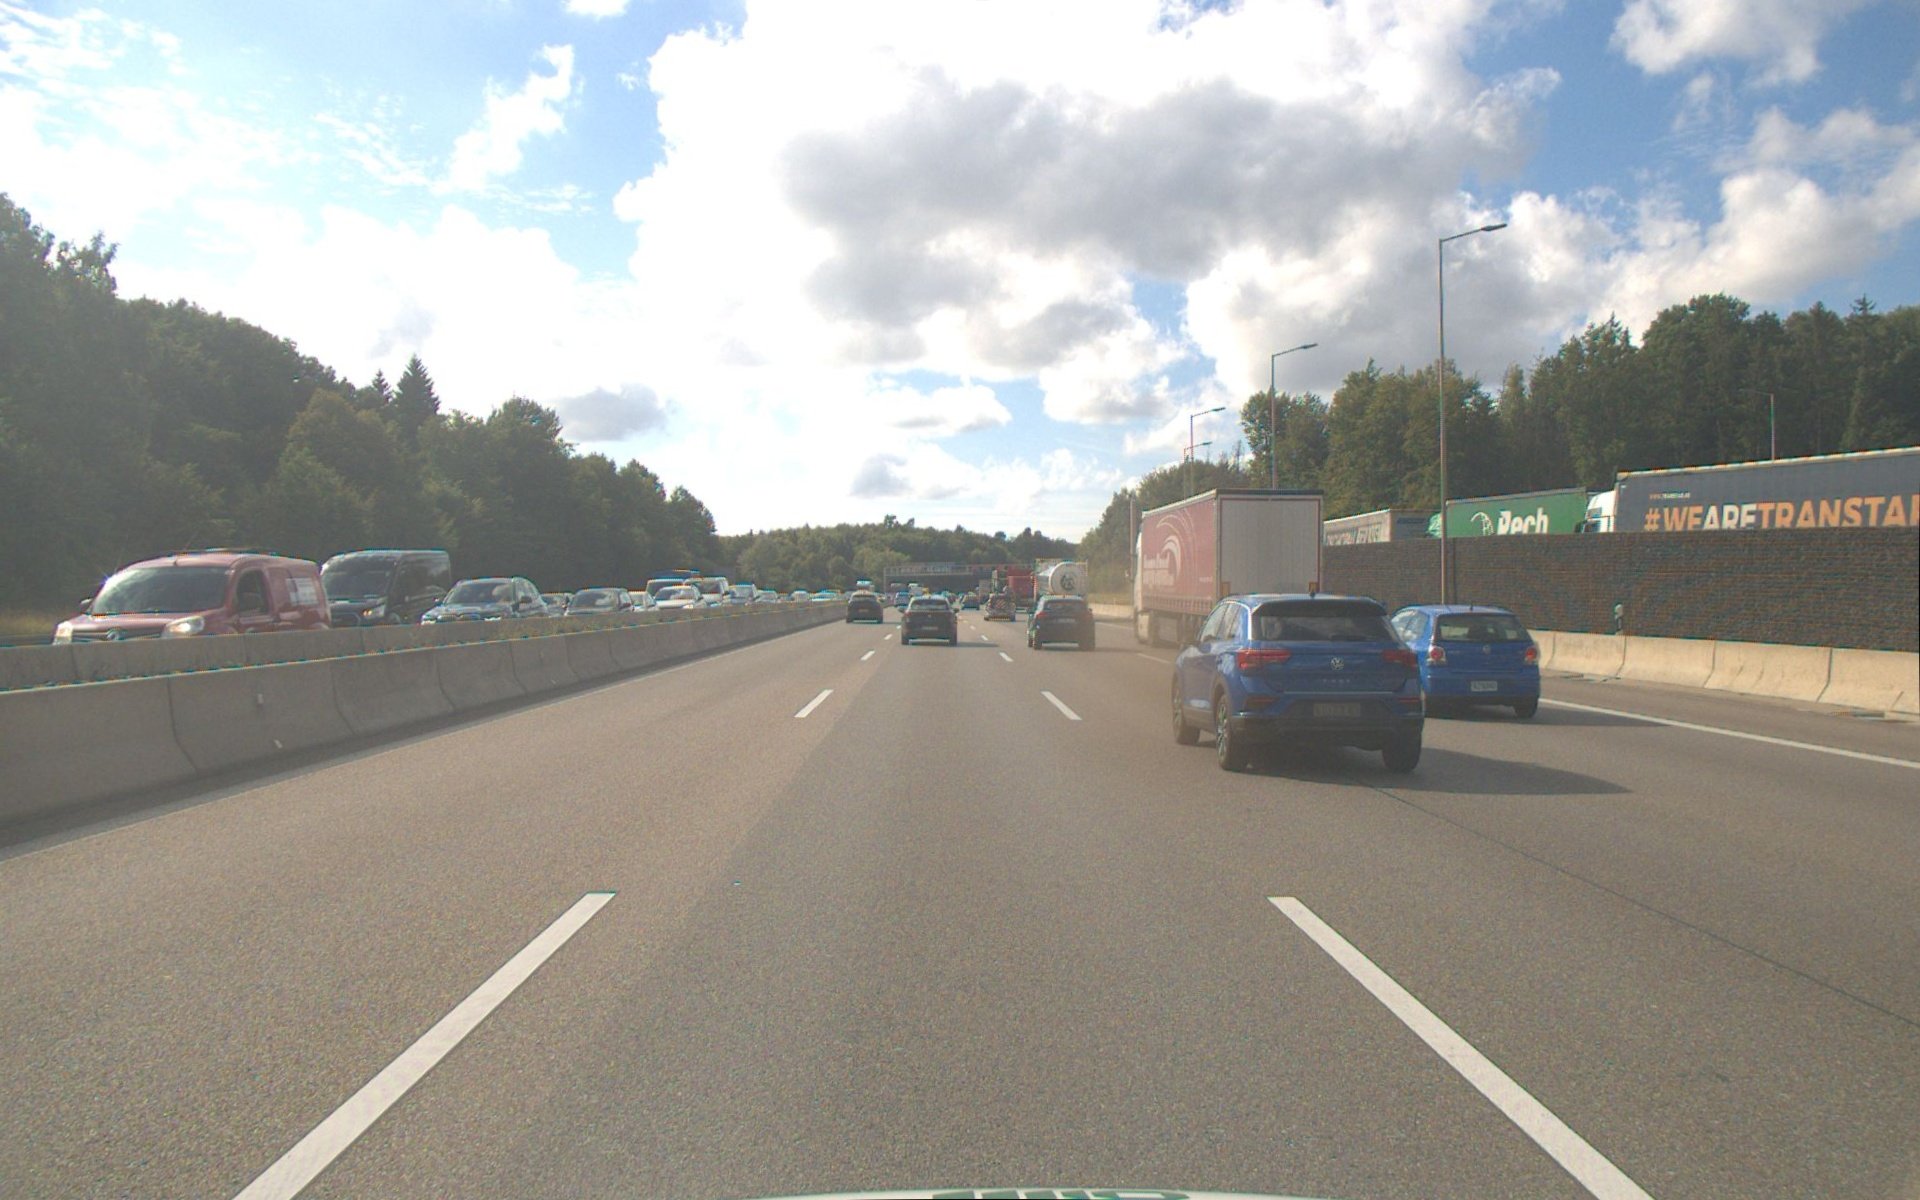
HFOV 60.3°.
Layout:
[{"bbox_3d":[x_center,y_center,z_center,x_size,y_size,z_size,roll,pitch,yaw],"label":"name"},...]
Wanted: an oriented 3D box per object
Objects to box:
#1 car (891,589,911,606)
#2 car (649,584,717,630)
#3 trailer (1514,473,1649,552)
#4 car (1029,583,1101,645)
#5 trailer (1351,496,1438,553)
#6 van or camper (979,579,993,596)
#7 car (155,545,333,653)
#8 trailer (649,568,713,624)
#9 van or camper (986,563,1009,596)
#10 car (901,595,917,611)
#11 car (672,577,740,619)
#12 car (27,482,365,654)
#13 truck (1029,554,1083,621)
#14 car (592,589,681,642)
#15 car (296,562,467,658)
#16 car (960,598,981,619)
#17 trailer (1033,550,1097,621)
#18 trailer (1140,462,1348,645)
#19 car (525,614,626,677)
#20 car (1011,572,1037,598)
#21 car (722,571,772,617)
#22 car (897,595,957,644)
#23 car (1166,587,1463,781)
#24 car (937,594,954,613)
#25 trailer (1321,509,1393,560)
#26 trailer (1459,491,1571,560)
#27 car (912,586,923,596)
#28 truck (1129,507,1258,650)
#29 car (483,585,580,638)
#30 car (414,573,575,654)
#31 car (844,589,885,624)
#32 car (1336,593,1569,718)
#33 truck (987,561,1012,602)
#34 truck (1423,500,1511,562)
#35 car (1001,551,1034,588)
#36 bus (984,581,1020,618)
[{"bbox_3d":[-6.706,-0.299,188.144,2.111,1.807,3.999,1,-1,-1],"label":"car"},{"bbox_3d":[-10.173,0.237,61.096,1.729,1.600,4.357,1,0,0],"label":"car"},{"bbox_3d":[20.150,-2.779,53.953,1.953,2.049,6.190,1,-2,-1],"label":"trailer"},{"bbox_3d":[2.995,0.423,47.883,1.762,1.673,3.999,1,-1,-1],"label":"car"},{"bbox_3d":[19.593,-3.365,74.883,2.009,2.049,6.961,1,-2,-1],"label":"trailer"},{"bbox_3d":[3.955,-1.886,255.823,2.041,2.536,4.224,0,0,-1],"label":"van or camper"},{"bbox_3d":[-17.269,-0.021,40.222,1.953,2.415,5.329,1,0,0],"label":"car"},{"bbox_3d":[-14.768,-0.190,88.024,2.233,2.834,8.538,1,0,-2],"label":"trailer"},{"bbox_3d":[3.948,-2.090,173.924,2.303,3.199,5.710,1,-2,0],"label":"van or camper"},{"bbox_3d":[-6.609,0.358,215.727,1.954,2.049,3.997,1,0,-3],"label":"car"},{"bbox_3d":[-10.595,-0.089,69.344,1.953,1.600,5.329,2,0,0],"label":"car"},{"bbox_3d":[-9.061,-0.345,20.209,1.838,1.793,5.292,1,0,-2],"label":"car"},{"bbox_3d":[6.288,-0.732,109.309,2.984,4.233,7.123,0,-1,-2],"label":"truck"},{"bbox_3d":[-10.343,0.473,53.148,1.953,1.600,4.357,1,0,0],"label":"car"},{"bbox_3d":[-13.559,0.208,39.198,1.953,2.068,5.845,1,0,0],"label":"car"},{"bbox_3d":[1.050,0.849,167.777,1.953,2.049,3.999,1,-1,-1],"label":"car"},{"bbox_3d":[6.421,-0.799,103.161,2.974,4.086,12.240,0,-1,-1],"label":"trailer"},{"bbox_3d":[7.225,-0.878,44.635,2.976,4.106,13.885,1,-2,-1],"label":"trailer"},{"bbox_3d":[-10.694,1.231,46.192,1.953,1.600,3.511,1,0,0],"label":"car"},{"bbox_3d":[5.339,-1.230,139.103,1.953,2.049,3.998,1,-2,-1],"label":"car"},{"bbox_3d":[-10.324,-0.243,80.365,1.953,2.049,4.674,1,-2,-2],"label":"car"},{"bbox_3d":[-1.071,0.615,51.297,1.699,1.389,3.997,-2,-1,-3],"label":"car"},{"bbox_3d":[3.236,0.682,16.073,1.884,1.568,4.645,1,0,0],"label":"car"},{"bbox_3d":[-1.696,0.437,192.539,1.953,2.049,3.998,-1,-2,-1],"label":"car"},{"bbox_3d":[19.449,-3.183,81.372,2.003,2.049,6.004,1,-2,-1],"label":"trailer"},{"bbox_3d":[19.982,-2.637,59.836,1.953,2.049,5.773,1,-2,-2],"label":"trailer"},{"bbox_3d":[-6.516,-1.418,256.136,1.590,1.496,3.814,2,-1,0],"label":"car"},{"bbox_3d":[7.122,-0.534,51.290,3.018,4.135,6.067,1,-2,-1],"label":"truck"},{"bbox_3d":[-13.702,0.351,53.124,1.953,1.600,4.357,1,0,0],"label":"car"},{"bbox_3d":[-9.948,0.263,35.813,1.953,1.600,5.207,1,0,0],"label":"car"},{"bbox_3d":[-5.011,0.337,86.935,1.953,1.807,4.000,0,0,-1],"label":"car"},{"bbox_3d":[6.645,0.727,22.815,1.681,1.538,4.298,0,-1,-4],"label":"car"},{"bbox_3d":[3.916,-1.799,167.247,2.309,3.635,11.265,1,-2,0],"label":"truck"},{"bbox_3d":[19.887,-2.667,65.085,2.003,2.049,4.780,1,-2,0],"label":"truck"},{"bbox_3d":[5.165,-2.737,149.401,2.807,3.044,5.148,1,-2,0],"label":"car"},{"bbox_3d":[2.447,-0.022,97.712,1.953,2.049,3.999,1,-2,-1],"label":"bus"}]
